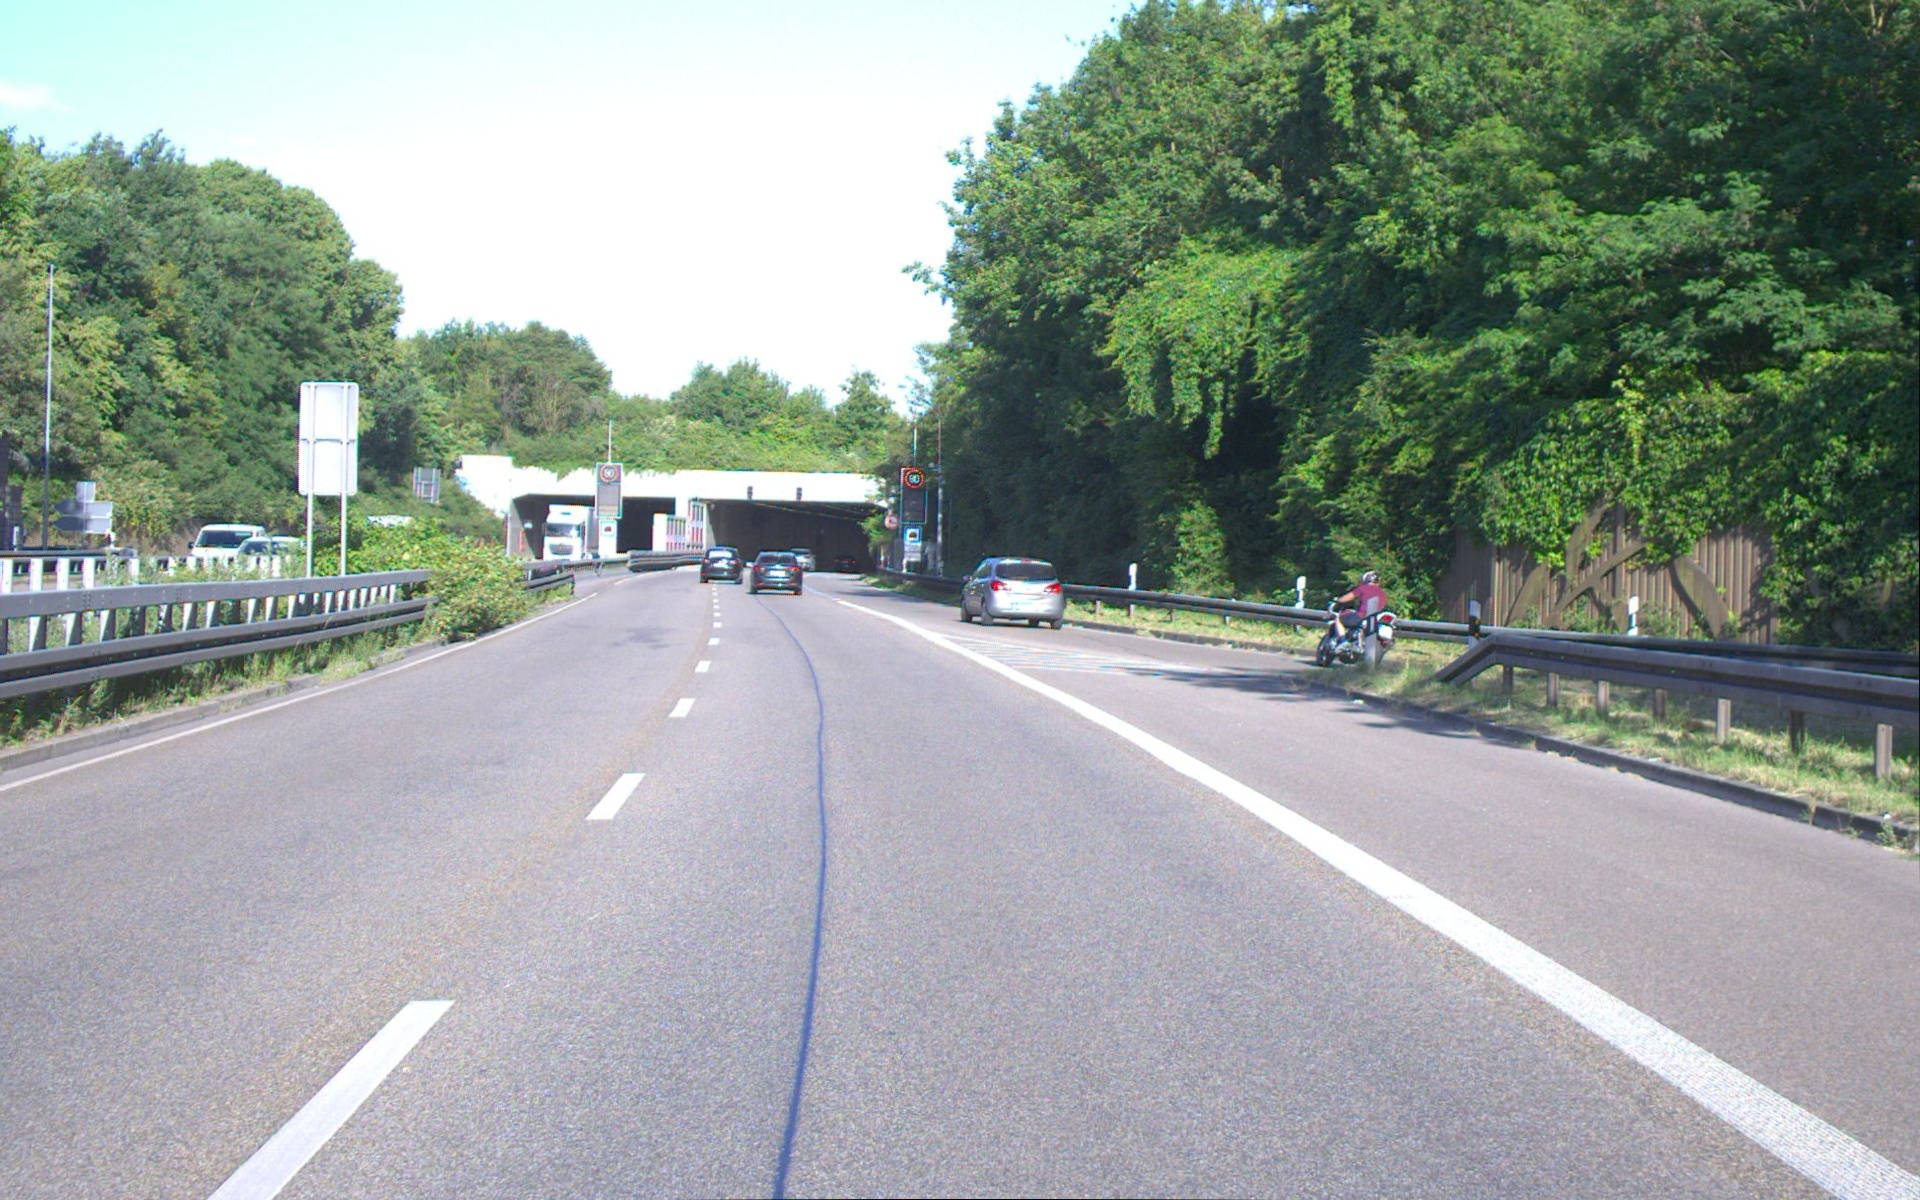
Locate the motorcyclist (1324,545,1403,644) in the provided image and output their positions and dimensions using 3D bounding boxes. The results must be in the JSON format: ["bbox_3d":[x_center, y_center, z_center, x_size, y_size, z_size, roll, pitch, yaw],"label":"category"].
[{"bbox_3d":[6.436,-0.088,54.880,0.883,1.496,1.063,3,2,-12],"label":"motorcyclist"}]

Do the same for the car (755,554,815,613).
[{"bbox_3d":[-6.077,-0.593,119.686,1.993,1.919,4.001,2,1,-2],"label":"car"}]

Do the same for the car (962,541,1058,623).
[{"bbox_3d":[1.038,-0.399,73.139,1.667,1.546,4.001,3,2,-3],"label":"car"}]

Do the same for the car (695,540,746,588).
[{"bbox_3d":[-10.314,-1.571,148.298,1.993,1.919,4.001,2,1,-2],"label":"car"}]

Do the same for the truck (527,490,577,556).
[{"bbox_3d":[-27.421,-5.216,231.237,2.735,4.246,6.388,3,2,-3],"label":"truck"}]

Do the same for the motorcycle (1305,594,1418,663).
[{"bbox_3d":[6.394,0.448,54.909,0.858,0.988,2.729,3,1,-13],"label":"motorcycle"}]

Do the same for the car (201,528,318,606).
[{"bbox_3d":[-15.115,-0.740,74.382,1.821,1.475,4.622,3,2,-4],"label":"car"}]

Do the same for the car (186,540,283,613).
[{"bbox_3d":[-19.899,-0.666,94.402,1.822,1.815,4.622,3,2,-3],"label":"car"}]
